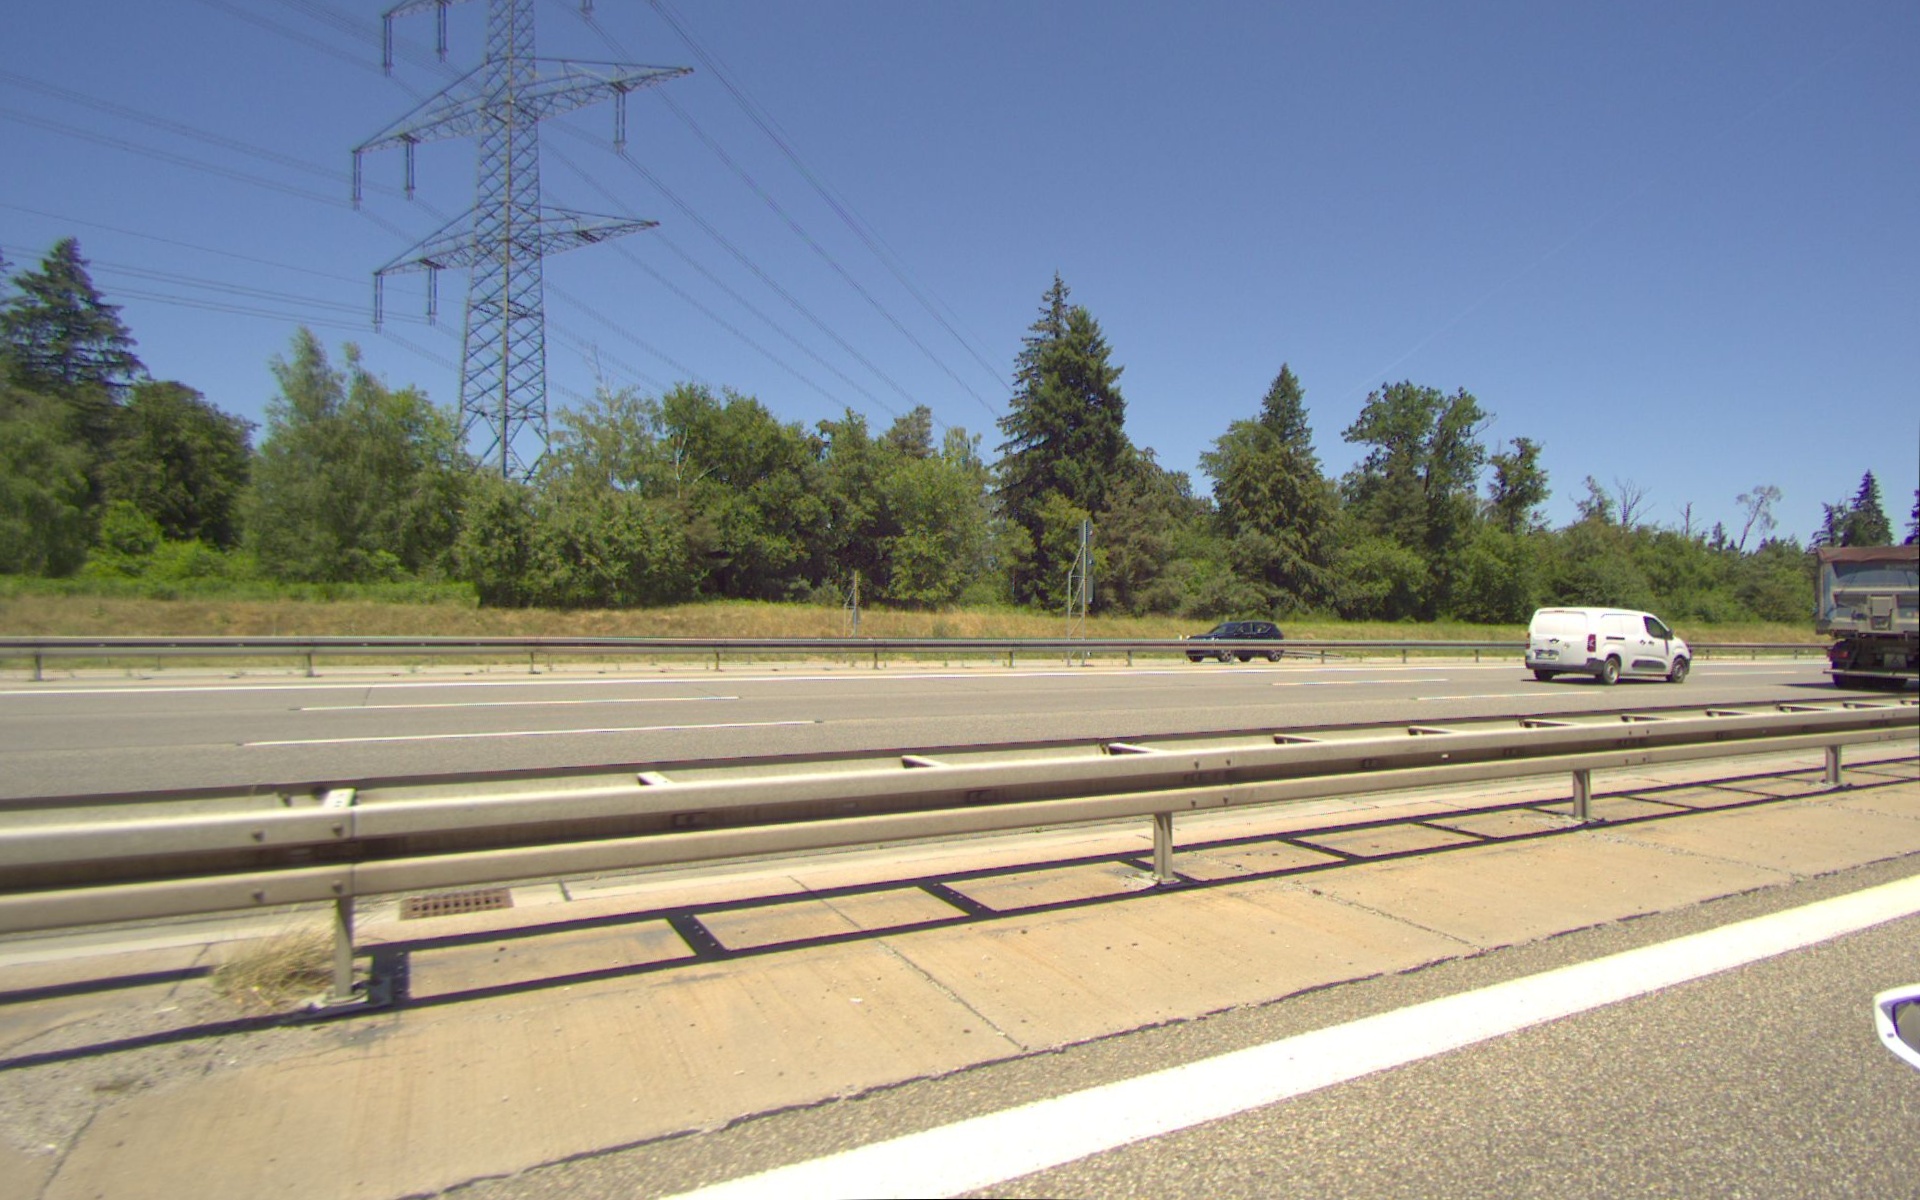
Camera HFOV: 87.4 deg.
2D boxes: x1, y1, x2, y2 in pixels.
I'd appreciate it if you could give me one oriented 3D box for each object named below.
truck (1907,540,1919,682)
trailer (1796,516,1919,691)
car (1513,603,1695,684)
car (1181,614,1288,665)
[{"bbox_3d":[28.752,0.348,27.360,5.872,3.808,2.673,1,-1,-29],"label":"truck"},{"bbox_3d":[24.482,0.185,24.940,8.999,3.808,2.725,1,-1,-29],"label":"trailer"},{"bbox_3d":[16.106,1.053,25.087,4.658,1.858,1.824,1,-1,-28],"label":"car"},{"bbox_3d":[10.888,1.554,39.834,3.946,1.894,1.733,1,0,-26],"label":"car"}]
